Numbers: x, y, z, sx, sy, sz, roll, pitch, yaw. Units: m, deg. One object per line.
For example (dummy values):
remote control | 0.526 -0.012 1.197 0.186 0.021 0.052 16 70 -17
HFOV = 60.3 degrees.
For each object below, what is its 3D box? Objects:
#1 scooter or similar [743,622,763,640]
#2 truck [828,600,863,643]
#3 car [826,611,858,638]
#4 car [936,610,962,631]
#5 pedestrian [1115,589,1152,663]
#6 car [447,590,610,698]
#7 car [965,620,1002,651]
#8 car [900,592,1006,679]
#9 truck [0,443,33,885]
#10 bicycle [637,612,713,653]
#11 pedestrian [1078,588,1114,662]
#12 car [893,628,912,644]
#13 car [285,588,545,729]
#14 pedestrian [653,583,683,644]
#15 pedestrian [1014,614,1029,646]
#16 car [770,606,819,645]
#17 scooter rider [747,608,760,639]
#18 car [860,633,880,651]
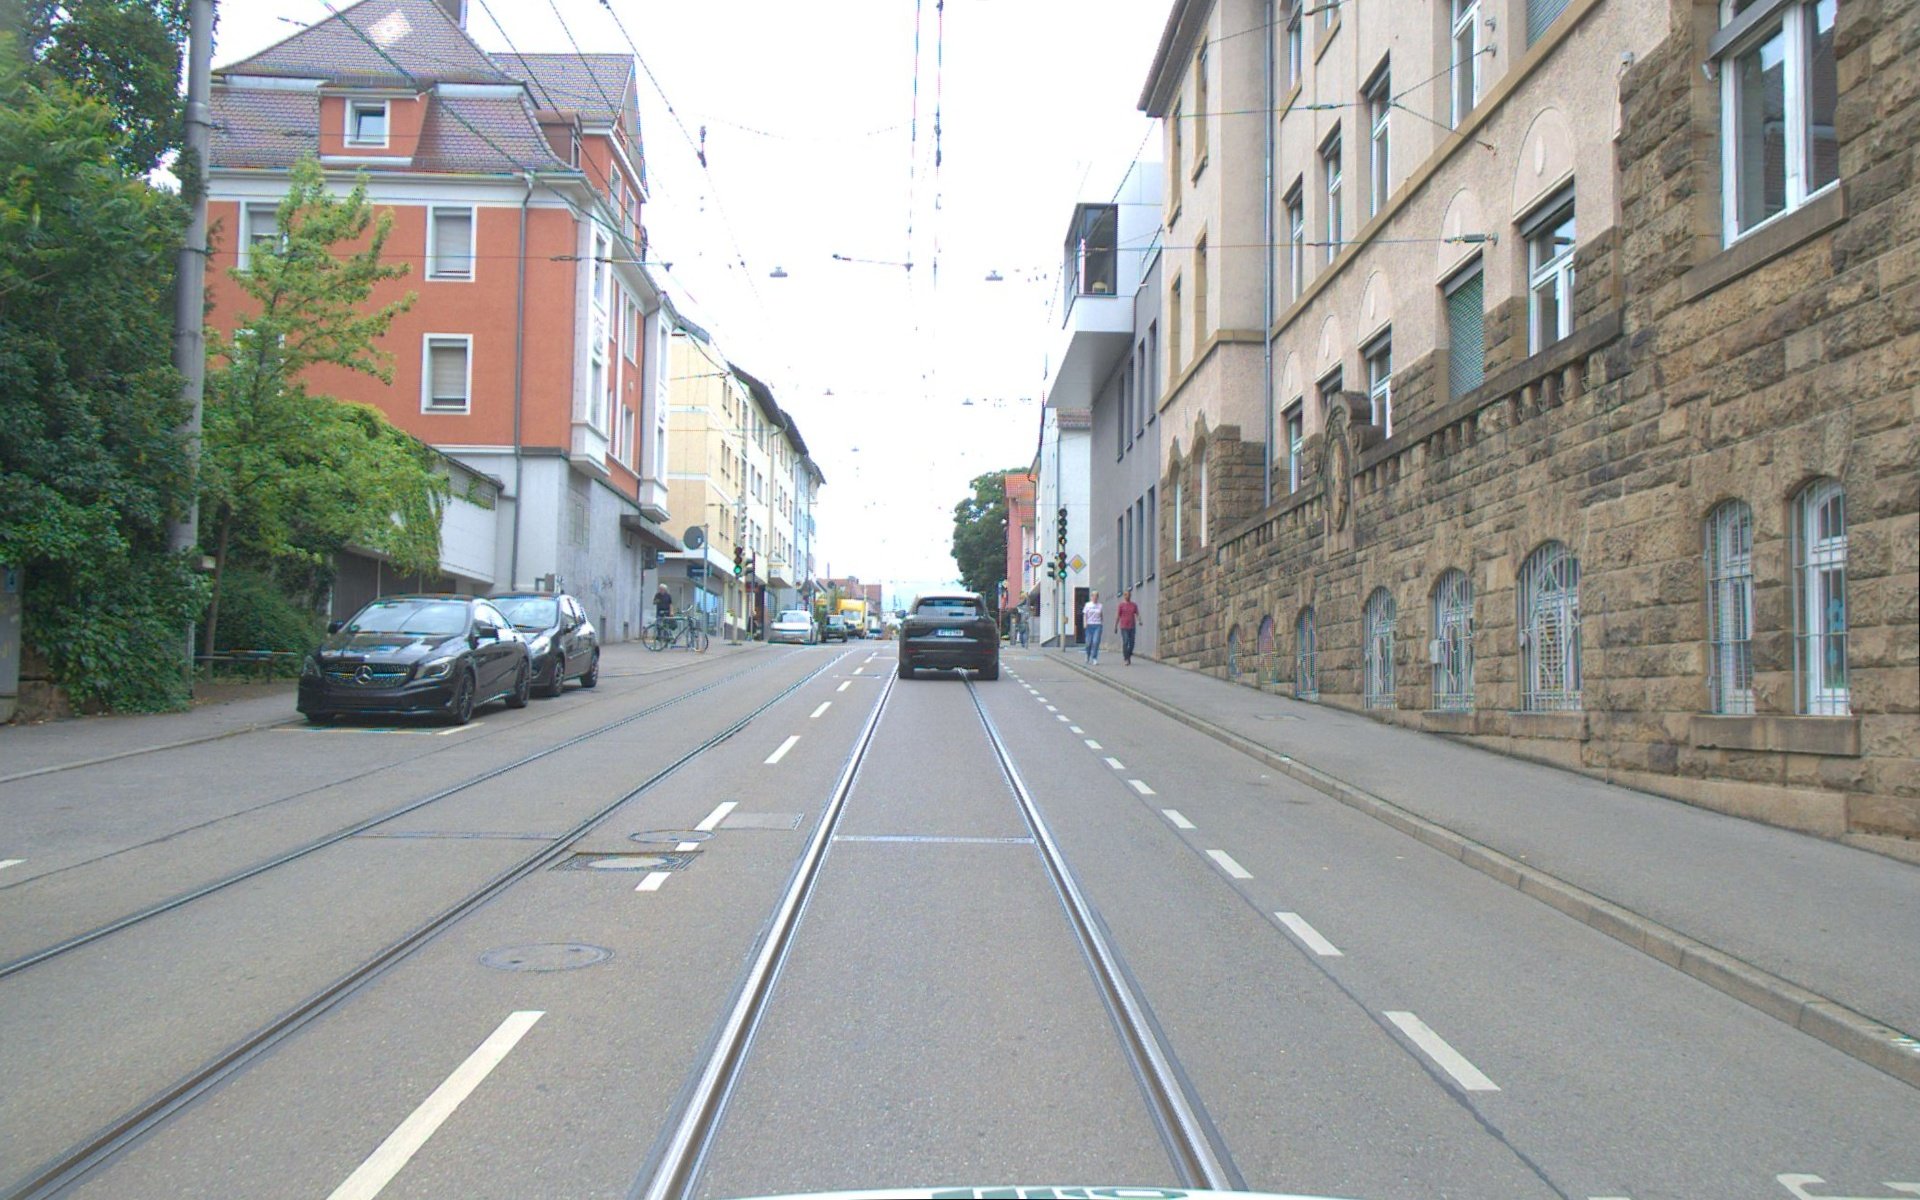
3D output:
scooter or similar | -10.975 1.665 87.611 1.007 0.935 0.472 1 0 -6
truck | -8.631 1.586 125.407 2.256 3.090 9.030 1 -1 -1
car | -7.479 1.542 105.158 1.817 1.635 4.296 1 0 -1
car | -0.851 1.565 126.806 1.953 1.590 4.289 1 0 -1
pedestrian | 4.036 0.592 38.444 0.775 1.696 0.799 1 0 1
car | -6.390 0.615 24.832 1.484 1.472 3.709 1 0 -1
car | 1.270 1.927 91.104 1.953 1.590 4.289 1 0 -1
car | -0.158 0.658 32.944 1.953 1.590 4.289 1 0 -1
truck | -5.940 0.301 4.564 2.233 2.226 8.024 1 0 0
bicycle | -7.412 0.843 43.000 1.872 1.017 0.479 1 0 -1
pedestrian | 3.157 0.576 38.425 0.775 1.696 0.799 1 0 1
car | -6.113 3.890 176.820 1.953 1.590 4.289 1 0 -1
car | -6.287 0.620 19.588 1.677 1.472 4.289 1 0 -1
pedestrian | -8.790 0.396 49.767 0.759 1.807 0.650 1 0 0
pedestrian | 3.349 1.642 89.681 0.775 1.696 0.799 1 0 1
car | -7.236 1.113 72.728 1.817 1.635 4.296 1 0 -1
scooter rider | -10.925 1.221 87.708 0.635 1.613 0.765 1 0 -5
car | -8.687 4.069 160.220 1.817 1.635 4.296 1 0 -1
